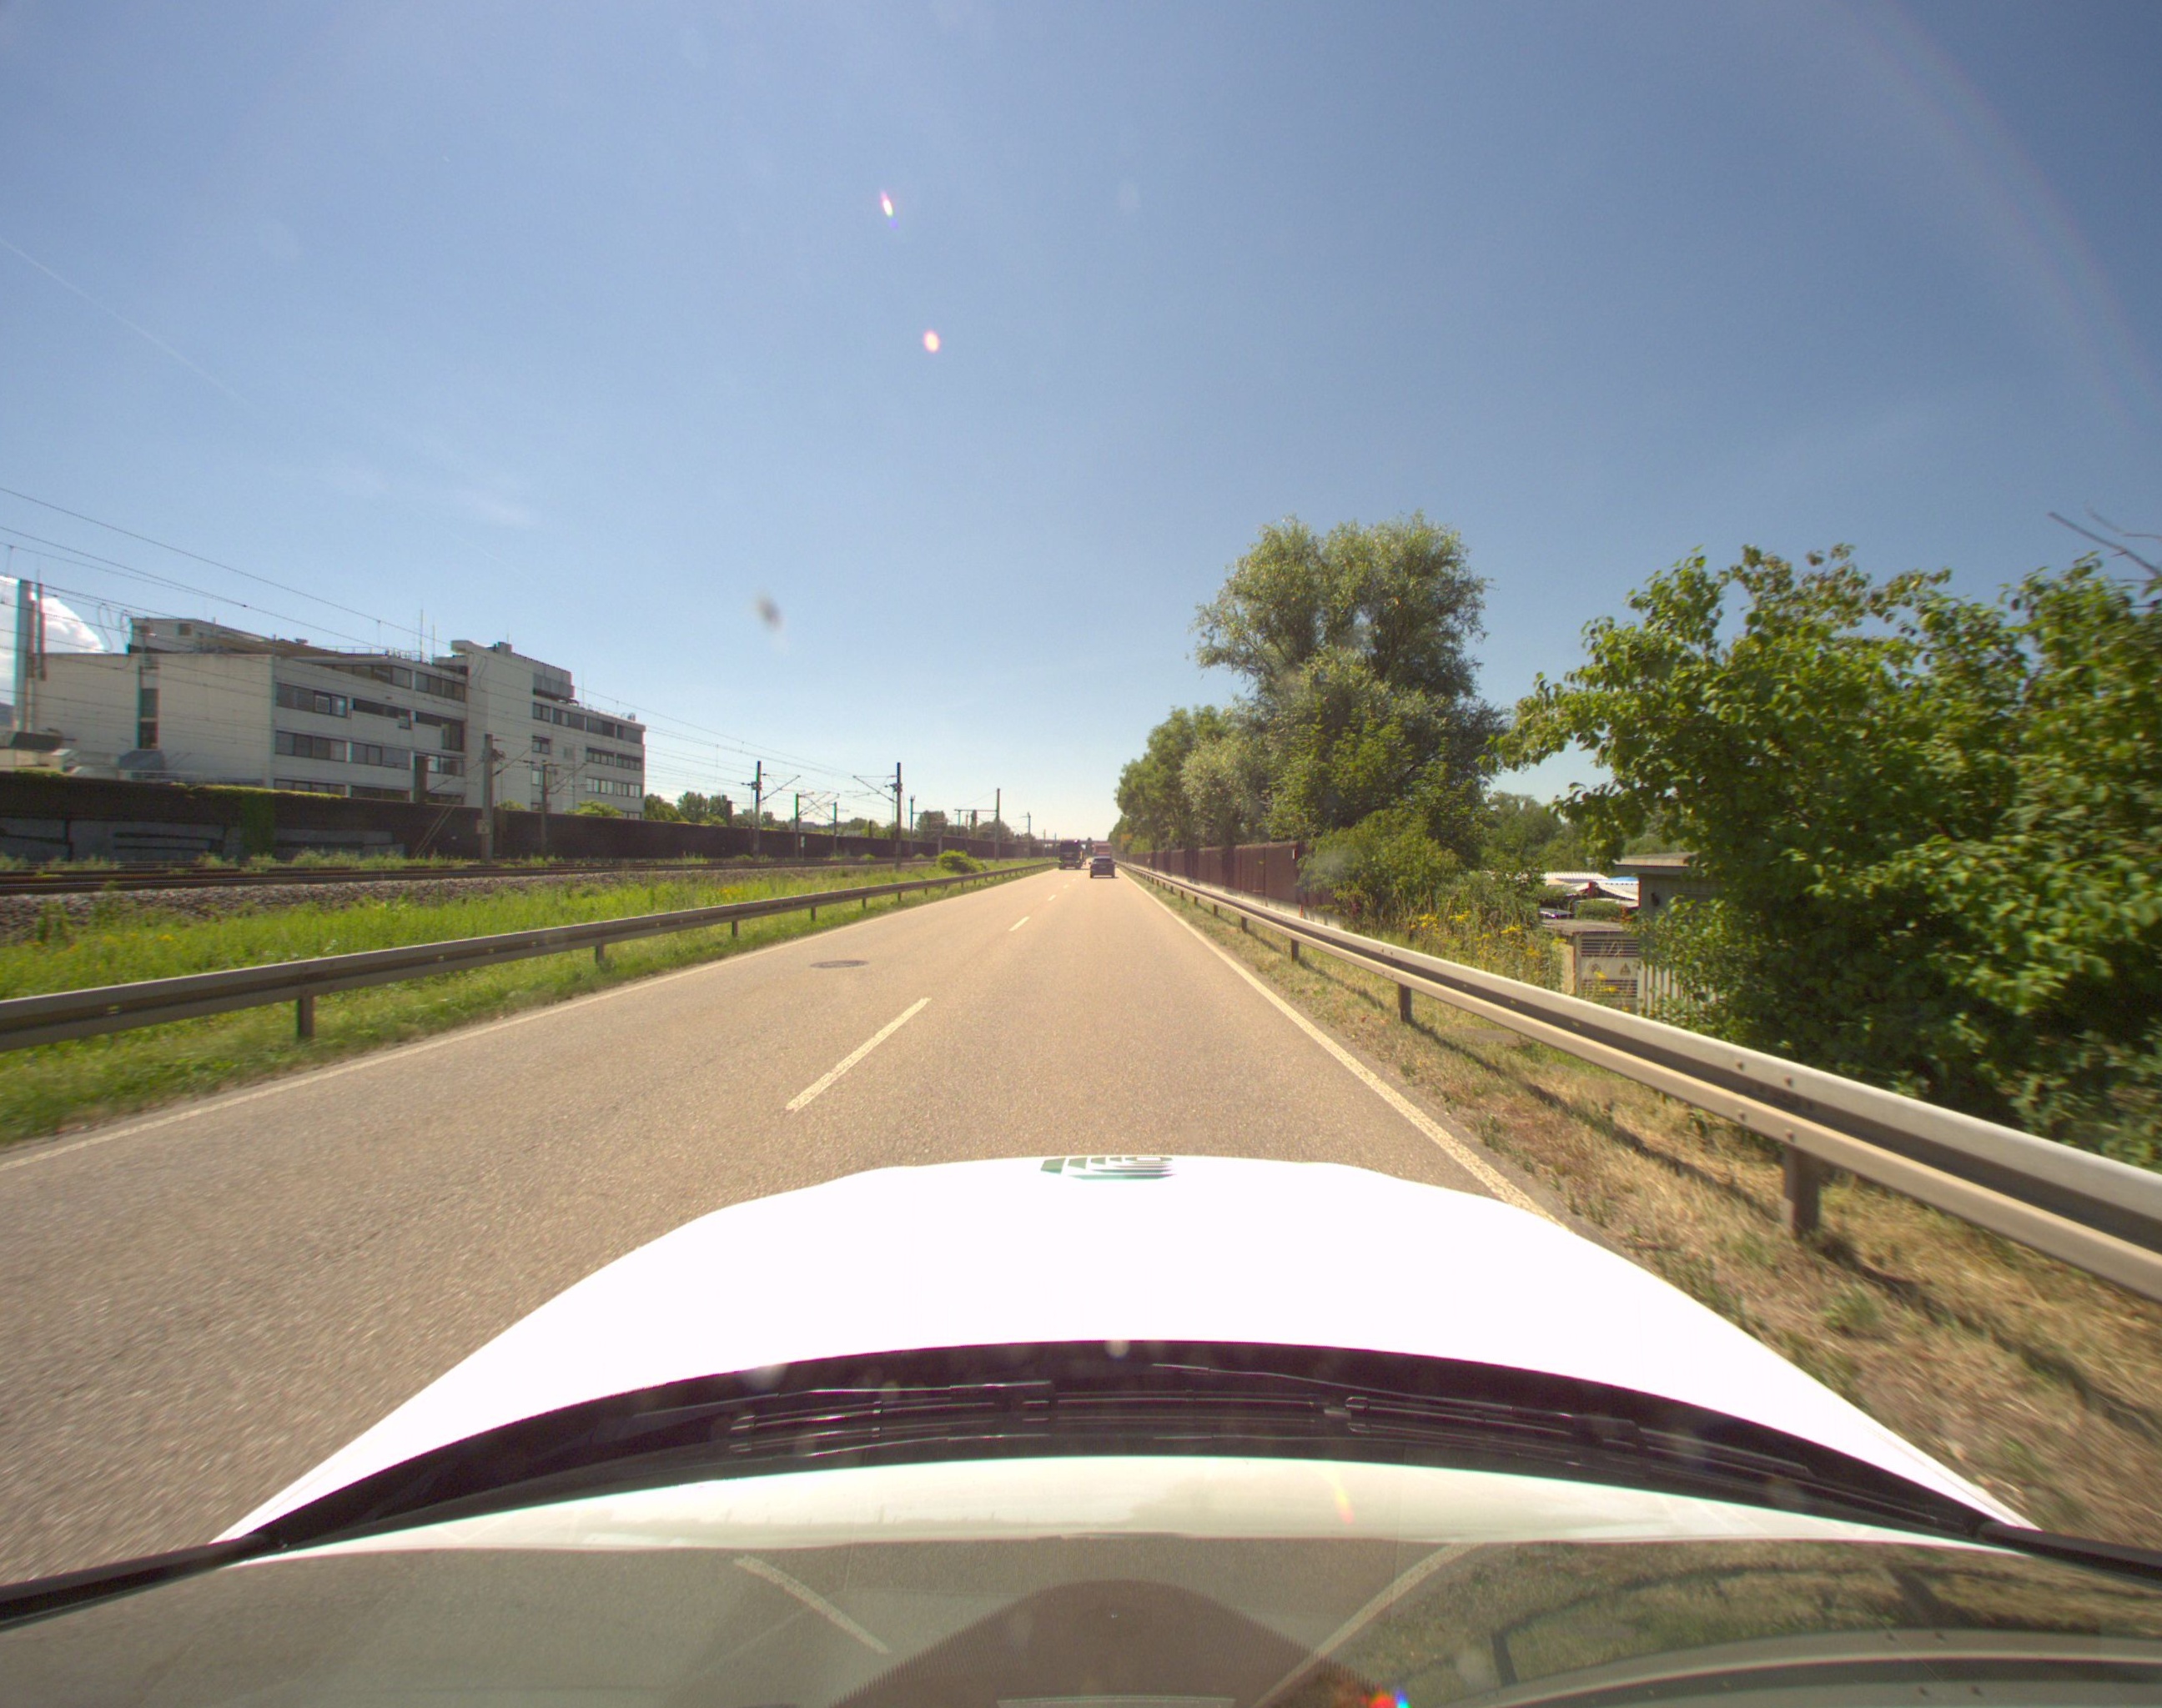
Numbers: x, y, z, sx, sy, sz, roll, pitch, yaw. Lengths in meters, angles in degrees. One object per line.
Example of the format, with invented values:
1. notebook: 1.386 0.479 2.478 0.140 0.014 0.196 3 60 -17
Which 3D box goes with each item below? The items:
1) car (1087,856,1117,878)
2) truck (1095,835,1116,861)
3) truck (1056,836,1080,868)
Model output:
1. car: 1.507 0.893 59.531 1.987 1.508 3.999 -1 0 -1
2. truck: 3.380 -0.791 113.904 2.760 3.425 10.823 0 0 2
3. truck: -1.522 -0.234 99.480 2.649 3.627 10.977 0 0 1
